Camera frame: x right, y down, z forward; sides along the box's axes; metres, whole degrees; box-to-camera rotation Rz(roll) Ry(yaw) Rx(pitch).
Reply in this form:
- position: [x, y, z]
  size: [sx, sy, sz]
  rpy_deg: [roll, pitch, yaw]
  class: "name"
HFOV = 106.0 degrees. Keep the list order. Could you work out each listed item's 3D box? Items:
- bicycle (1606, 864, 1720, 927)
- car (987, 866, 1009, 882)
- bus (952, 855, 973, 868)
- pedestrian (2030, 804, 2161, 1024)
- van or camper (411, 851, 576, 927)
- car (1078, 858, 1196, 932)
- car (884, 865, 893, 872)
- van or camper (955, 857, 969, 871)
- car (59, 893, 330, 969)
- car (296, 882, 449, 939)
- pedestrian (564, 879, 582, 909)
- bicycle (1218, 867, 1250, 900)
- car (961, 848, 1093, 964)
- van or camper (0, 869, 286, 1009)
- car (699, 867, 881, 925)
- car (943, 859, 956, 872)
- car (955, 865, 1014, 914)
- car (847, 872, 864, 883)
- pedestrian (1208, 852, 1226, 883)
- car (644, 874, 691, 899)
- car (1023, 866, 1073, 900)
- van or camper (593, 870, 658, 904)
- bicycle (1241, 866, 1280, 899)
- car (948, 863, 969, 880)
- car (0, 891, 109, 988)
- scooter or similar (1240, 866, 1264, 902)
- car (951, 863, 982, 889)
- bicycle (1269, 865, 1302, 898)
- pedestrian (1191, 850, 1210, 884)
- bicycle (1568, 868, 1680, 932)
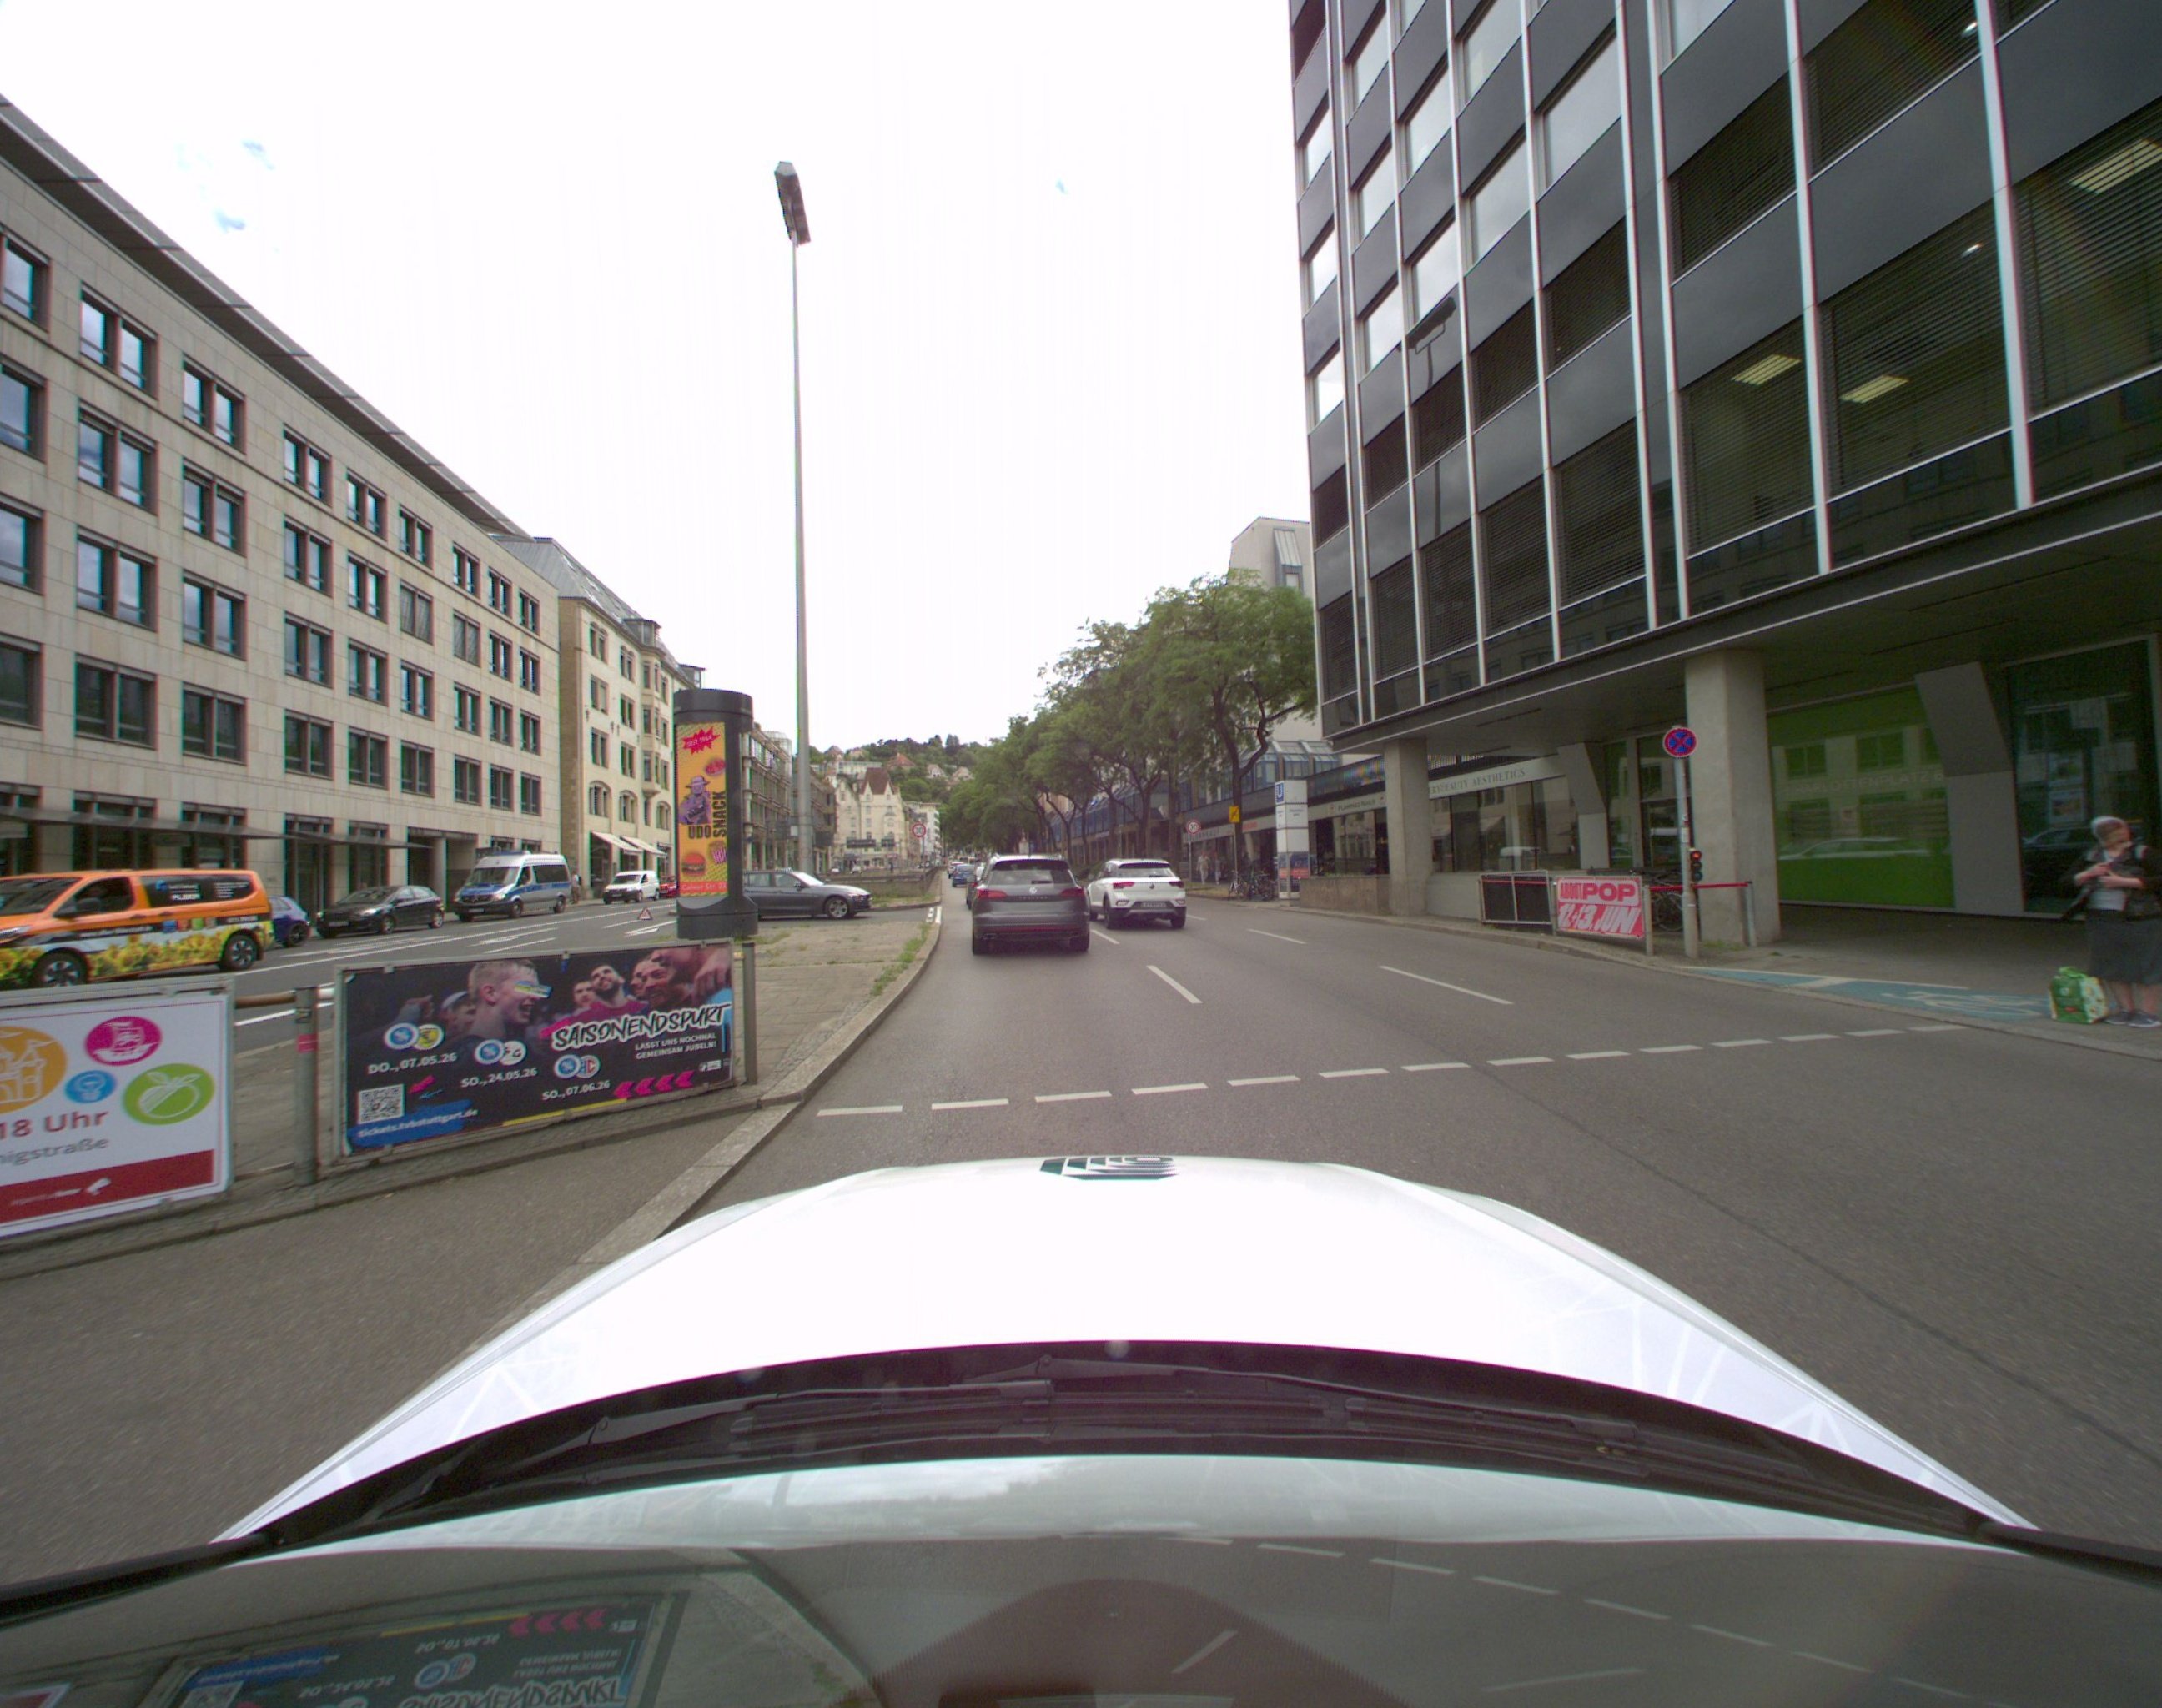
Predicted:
- position: [10.420, 0.723, 14.618]
  size: [0.716, 1.048, 1.472]
  rpy_deg: [-1, -1, -31]
  class: "bicycle"
- position: [-7.603, 1.810, 74.785]
  size: [1.829, 1.363, 3.761]
  rpy_deg: [-3, 0, -5]
  class: "car"
- position: [-33.967, 2.239, 233.976]
  size: [3.840, 3.532, 17.229]
  rpy_deg: [-2, 0, -2]
  class: "bus"
- position: [8.555, 0.470, 6.671]
  size: [0.526, 1.712, 0.749]
  rpy_deg: [-3, -2, -15]
  class: "pedestrian"
- position: [-23.814, 1.340, 33.498]
  size: [3.002, 2.726, 6.224]
  rpy_deg: [-2, 0, -10]
  class: "van or camper"
- position: [1.202, 0.871, 19.300]
  size: [1.799, 1.545, 3.919]
  rpy_deg: [0, 0, -12]
  class: "car"
- position: [-47.479, 3.518, 200.865]
  size: [1.994, 1.768, 4.265]
  rpy_deg: [-2, 0, -10]
  class: "car"
- position: [-27.481, 2.258, 187.540]
  size: [2.631, 3.178, 5.775]
  rpy_deg: [-2, 0, -14]
  class: "van or camper"
- position: [-21.072, 1.744, 19.723]
  size: [1.993, 1.395, 4.558]
  rpy_deg: [-2, -1, -9]
  class: "car"
- position: [-22.362, 1.726, 25.942]
  size: [1.769, 1.449, 4.016]
  rpy_deg: [-4, 0, -10]
  class: "car"
- position: [-27.443, 2.143, 44.001]
  size: [0.552, 1.577, 0.678]
  rpy_deg: [-2, -1, -8]
  class: "pedestrian"
- position: [5.473, 1.033, 29.235]
  size: [0.489, 1.132, 1.837]
  rpy_deg: [-2, -1, -11]
  class: "bicycle"
- position: [-1.025, 0.811, 14.769]
  size: [1.967, 1.695, 4.216]
  rpy_deg: [-3, 0, -5]
  class: "car"
- position: [-16.282, 1.268, 13.439]
  size: [1.913, 1.921, 5.065]
  rpy_deg: [-3, 0, -10]
  class: "van or camper"
- position: [-8.313, 1.178, 23.572]
  size: [4.539, 1.458, 1.880]
  rpy_deg: [-2, -1, -2]
  class: "car"
- position: [-20.205, 1.779, 125.201]
  size: [1.831, 1.874, 4.856]
  rpy_deg: [-3, -1, -9]
  class: "car"
- position: [-3.255, 1.145, 27.817]
  size: [1.831, 1.395, 4.139]
  rpy_deg: [-1, 1, -6]
  class: "car"
- position: [-37.363, 3.882, 134.750]
  size: [1.992, 1.585, 4.874]
  rpy_deg: [-2, -1, -8]
  class: "car"
- position: [7.273, 0.714, 43.563]
  size: [0.597, 1.629, 0.753]
  rpy_deg: [-2, 0, -16]
  class: "pedestrian"
- position: [-26.769, 2.078, 52.826]
  size: [1.788, 1.406, 3.568]
  rpy_deg: [-2, 0, -11]
  class: "car"
- position: [-1.678, 1.366, 39.948]
  size: [1.834, 1.432, 4.131]
  rpy_deg: [-1, 1, -11]
  class: "car"
- position: [-25.680, 1.810, 46.098]
  size: [1.869, 1.751, 4.469]
  rpy_deg: [-1, 0, -11]
  class: "van or camper"
- position: [6.444, 1.007, 29.332]
  size: [0.490, 1.132, 1.877]
  rpy_deg: [-1, -1, -16]
  class: "bicycle"
- position: [-12.161, 1.737, 80.659]
  size: [1.832, 1.567, 3.753]
  rpy_deg: [-3, -1, -10]
  class: "car"
- position: [-19.945, 1.577, 13.713]
  size: [1.994, 1.645, 4.666]
  rpy_deg: [-3, 0, -10]
  class: "car"
- position: [6.060, 1.054, 28.917]
  size: [0.307, 1.251, 0.989]
  rpy_deg: [-1, -1, -23]
  class: "scooter or similar"
- position: [-7.450, 1.394, 52.696]
  size: [1.832, 1.517, 3.754]
  rpy_deg: [-3, -1, -10]
  class: "car"
- position: [7.348, 0.974, 29.325]
  size: [0.489, 1.132, 1.683]
  rpy_deg: [-2, -1, -9]
  class: "bicycle"
- position: [6.370, 0.696, 43.317]
  size: [0.596, 1.754, 0.936]
  rpy_deg: [-2, 0, -16]
  class: "pedestrian"
- position: [9.606, 0.789, 14.464]
  size: [0.716, 1.048, 1.472]
  rpy_deg: [-1, -1, -31]
  class: "bicycle"
